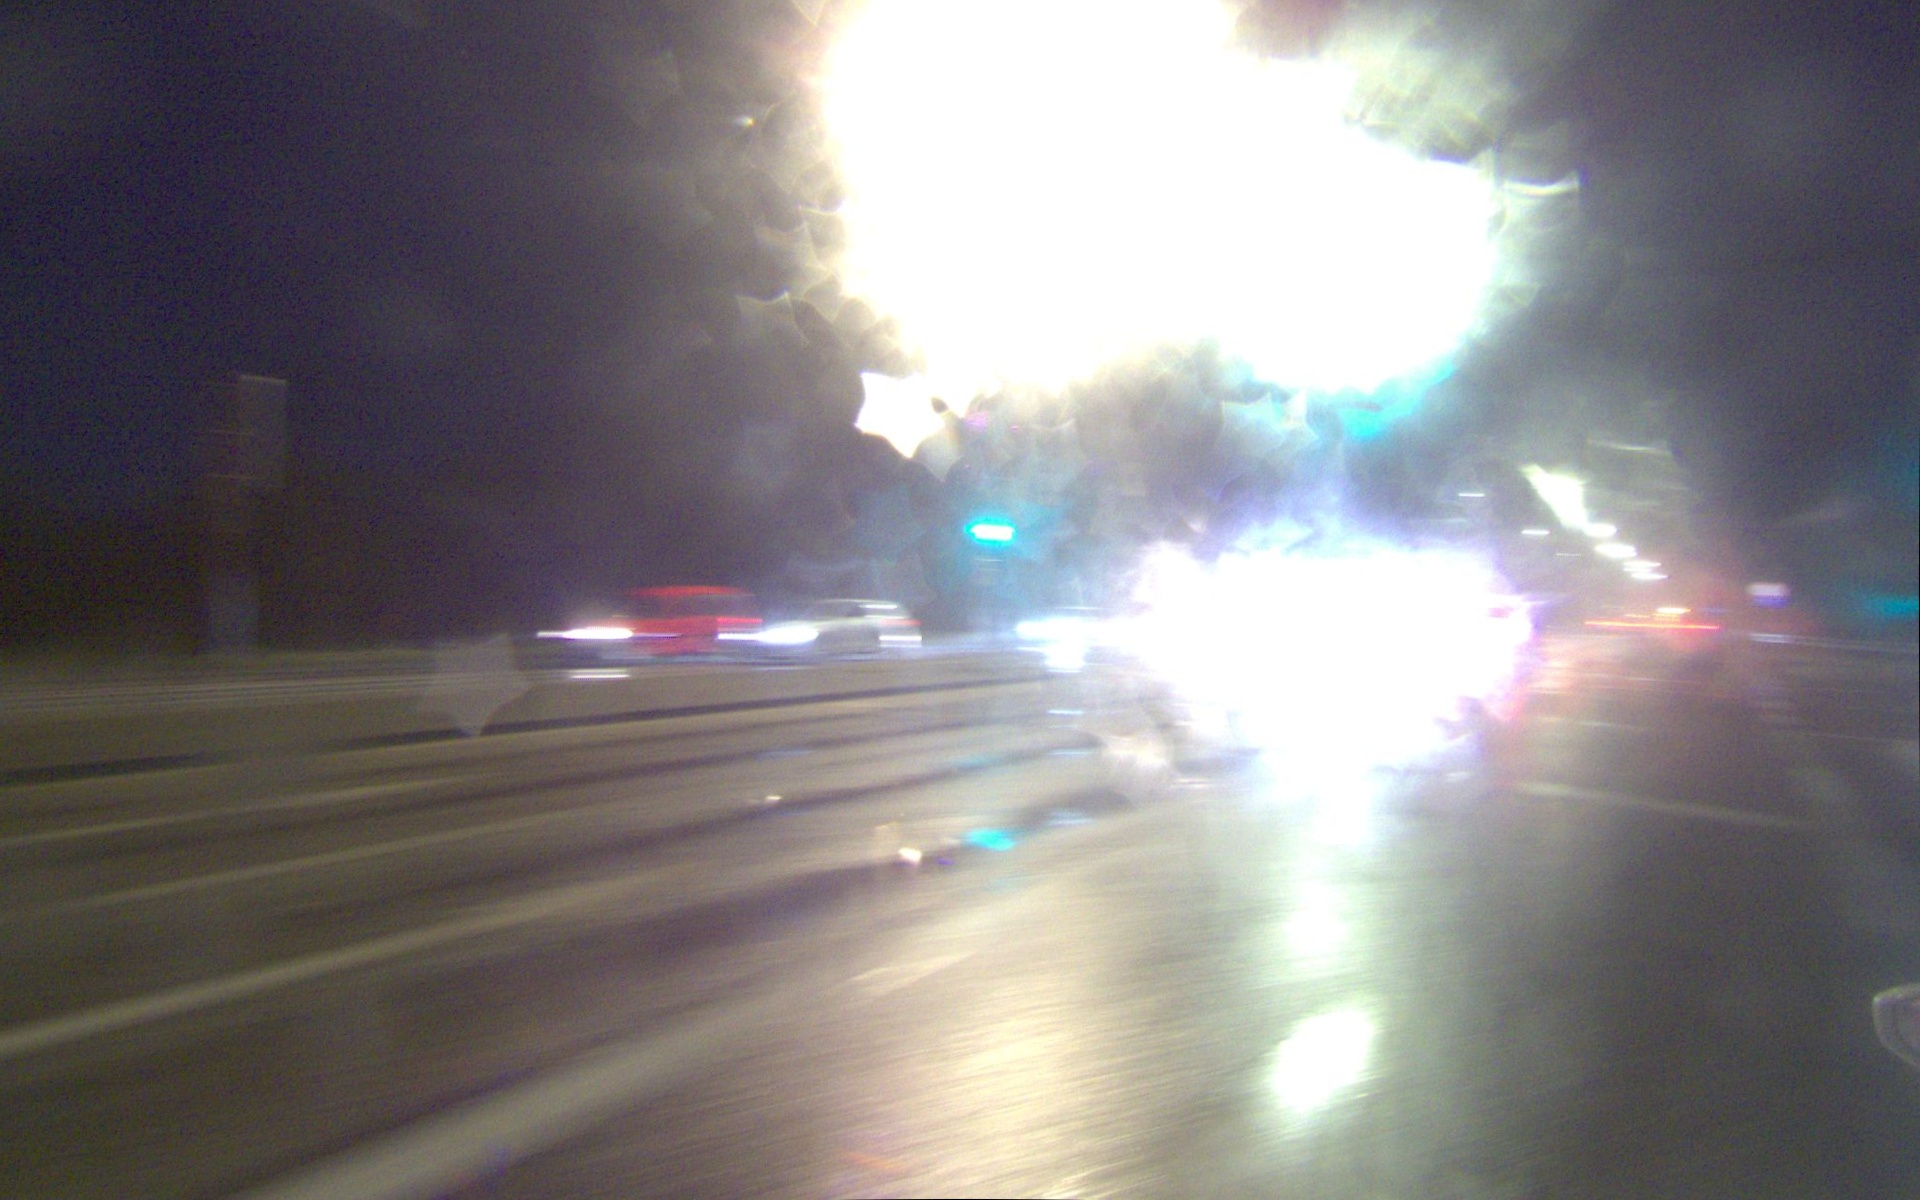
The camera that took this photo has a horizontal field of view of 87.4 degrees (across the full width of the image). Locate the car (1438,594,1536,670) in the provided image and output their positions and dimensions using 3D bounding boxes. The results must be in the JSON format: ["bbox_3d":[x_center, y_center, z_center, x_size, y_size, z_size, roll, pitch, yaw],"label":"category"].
[{"bbox_3d":[13.244,0.724,25.115,1.771,1.471,4.259,9,5,30],"label":"car"}]

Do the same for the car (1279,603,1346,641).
[{"bbox_3d":[14.406,0.891,40.968,1.570,1.446,3.336,1,0,38],"label":"car"}]

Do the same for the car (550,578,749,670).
[{"bbox_3d":[-7.088,0.515,23.287,1.740,1.918,4.189,1,0,37],"label":"car"}]

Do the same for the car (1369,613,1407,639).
[{"bbox_3d":[32.840,1.998,77.045,1.728,1.864,3.998,1,0,38],"label":"car"}]

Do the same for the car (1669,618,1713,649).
[{"bbox_3d":[47.647,2.199,65.427,1.888,1.622,3.981,7,1,41],"label":"car"}]

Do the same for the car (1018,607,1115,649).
[{"bbox_3d":[4.089,1.050,38.216,1.824,1.475,4.081,2,0,37],"label":"car"}]

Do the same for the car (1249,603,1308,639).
[{"bbox_3d":[19.044,1.253,59.943,1.866,2.044,4.333,1,0,39],"label":"car"}]

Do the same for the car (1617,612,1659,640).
[{"bbox_3d":[49.211,1.902,72.847,2.150,1.622,3.985,7,1,38],"label":"car"}]

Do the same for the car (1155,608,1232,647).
[{"bbox_3d":[9.466,1.085,40.535,1.643,1.468,3.805,1,0,37],"label":"car"}]

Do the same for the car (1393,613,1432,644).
[{"bbox_3d":[31.854,1.970,70.624,1.570,2.040,3.774,1,0,39],"label":"car"}]

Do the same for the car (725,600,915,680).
[{"bbox_3d":[-3.123,0.917,23.113,1.760,1.629,4.225,2,-1,39],"label":"car"}]

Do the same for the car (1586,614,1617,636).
[{"bbox_3d":[57.647,2.274,90.237,2.148,1.622,3.990,7,1,33],"label":"car"}]
